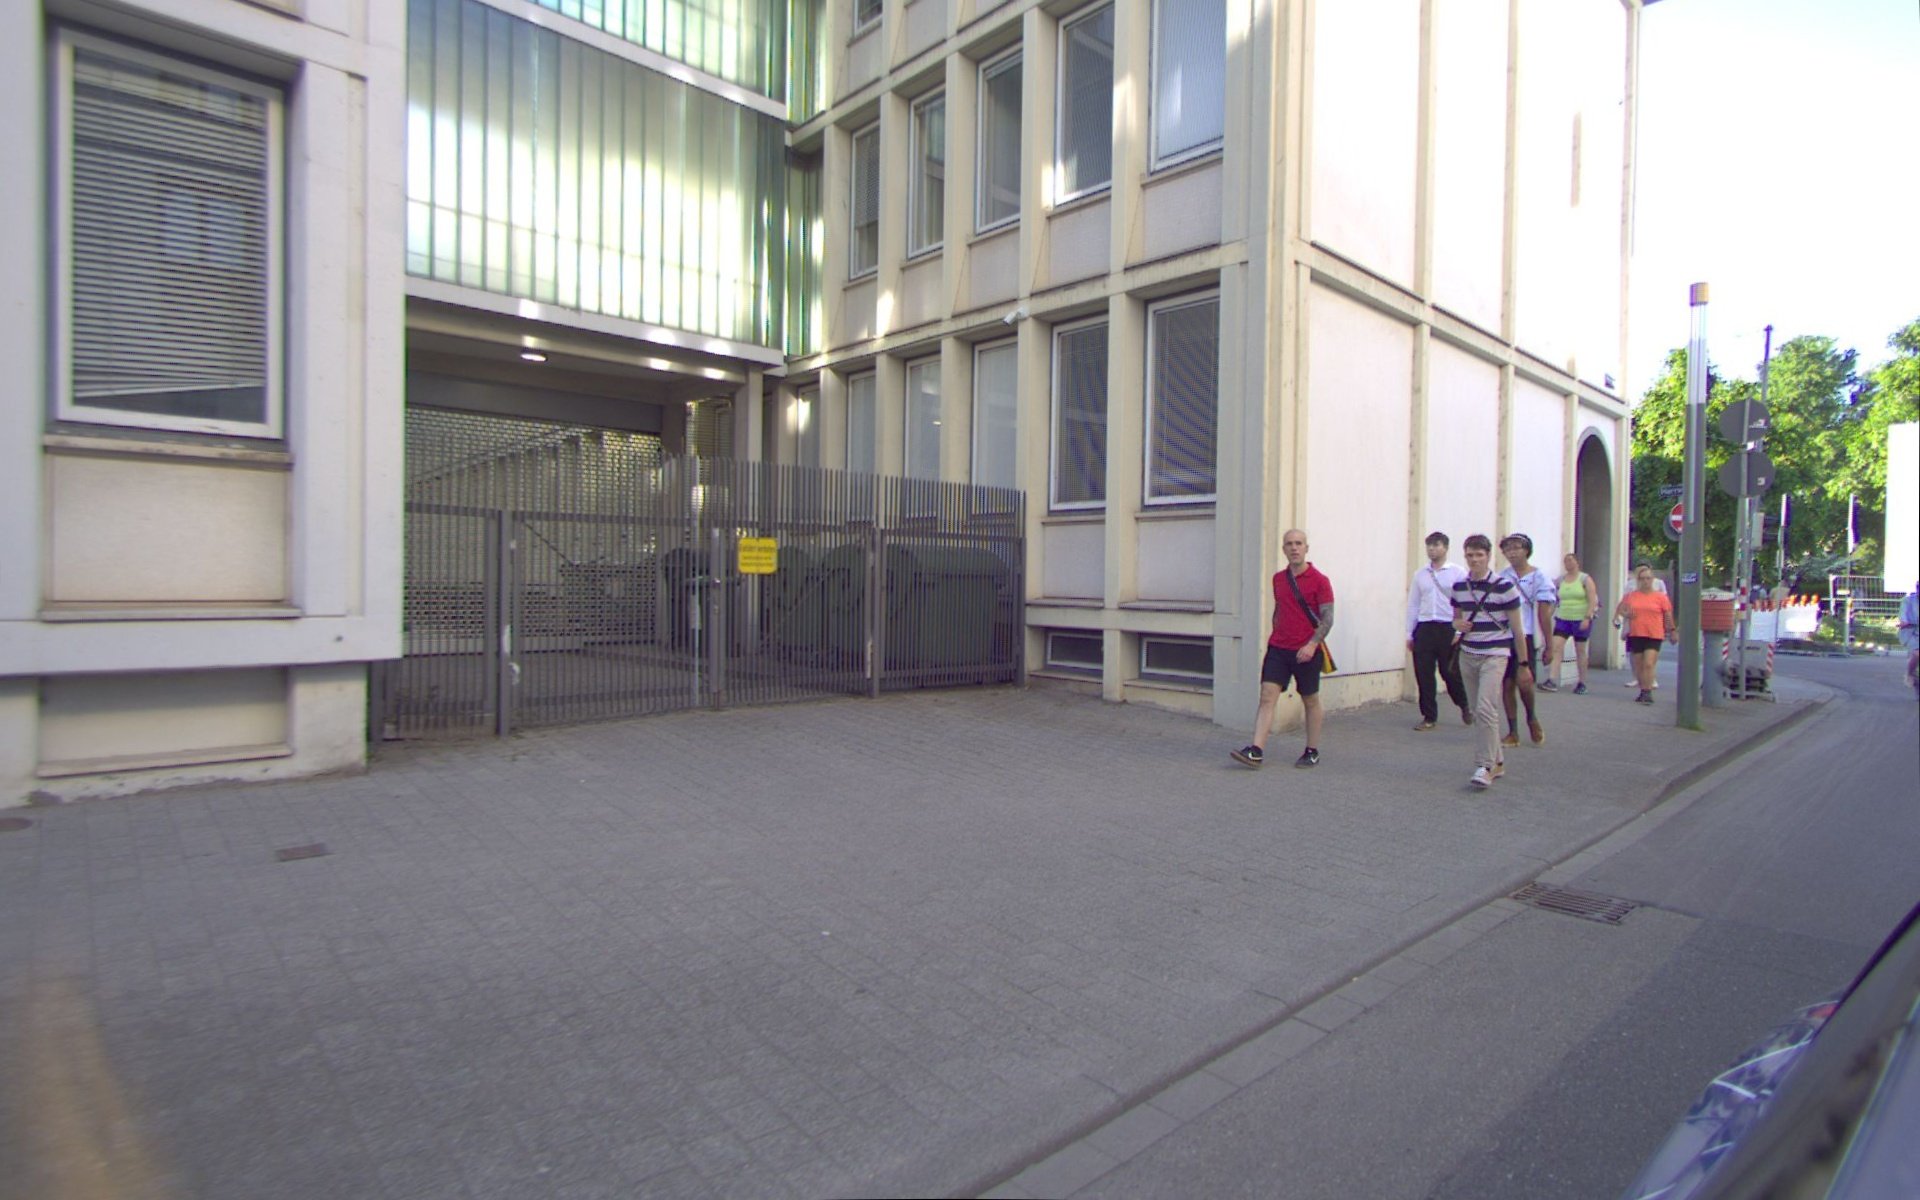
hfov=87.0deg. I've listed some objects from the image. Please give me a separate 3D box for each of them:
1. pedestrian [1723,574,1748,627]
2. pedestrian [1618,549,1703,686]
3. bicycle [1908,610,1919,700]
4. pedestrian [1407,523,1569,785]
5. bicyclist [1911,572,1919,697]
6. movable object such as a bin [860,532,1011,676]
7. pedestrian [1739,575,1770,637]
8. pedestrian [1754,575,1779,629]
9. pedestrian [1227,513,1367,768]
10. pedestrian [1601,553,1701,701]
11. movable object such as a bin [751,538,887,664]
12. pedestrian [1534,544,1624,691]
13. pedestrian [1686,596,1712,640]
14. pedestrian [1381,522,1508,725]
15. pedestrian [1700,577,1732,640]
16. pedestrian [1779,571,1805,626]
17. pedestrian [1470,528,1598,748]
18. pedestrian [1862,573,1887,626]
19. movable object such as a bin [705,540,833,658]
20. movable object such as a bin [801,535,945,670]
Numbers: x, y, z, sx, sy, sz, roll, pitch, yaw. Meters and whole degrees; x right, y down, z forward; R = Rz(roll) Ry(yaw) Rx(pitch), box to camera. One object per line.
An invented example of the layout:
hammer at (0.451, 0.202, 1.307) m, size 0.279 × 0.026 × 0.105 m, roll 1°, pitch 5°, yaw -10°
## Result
pedestrian at (26.749, -0.007, 34.895) m, size 0.624 × 1.805 × 0.614 m, roll 1°, pitch 1°, yaw 42°
pedestrian at (9.332, 0.213, 13.492) m, size 0.681 × 1.736 × 0.684 m, roll 0°, pitch 4°, yaw -41°
bicycle at (13.300, 0.722, 13.713) m, size 0.594 × 1.097 × 2.273 m, roll 1°, pitch 2°, yaw 45°
pedestrian at (3.926, 0.366, 7.537) m, size 0.681 × 1.799 × 0.685 m, roll 0°, pitch 7°, yaw -41°
bicyclist at (13.384, 0.466, 13.801) m, size 0.529 × 1.710 × 0.584 m, roll -1°, pitch 1°, yaw -45°
movable object such as a bin at (-0.259, 0.024, 11.039) m, size 1.359 × 1.454 × 0.968 m, roll -1°, pitch 1°, yaw -42°
pedestrian at (21.341, 0.160, 27.188) m, size 0.624 × 1.634 × 0.614 m, roll 1°, pitch 1°, yaw 42°
pedestrian at (27.384, 0.052, 34.376) m, size 0.624 × 1.805 × 0.614 m, roll 1°, pitch 1°, yaw 42°
pedestrian at (2.532, 0.272, 7.631) m, size 0.583 × 1.799 × 0.685 m, roll 0°, pitch 5°, yaw -41°
pedestrian at (8.228, 0.300, 12.052) m, size 0.681 × 1.655 × 0.685 m, roll 0°, pitch 6°, yaw -41°
movable object such as a bin at (-1.734, -0.009, 12.479) m, size 1.359 × 1.454 × 0.968 m, roll -1°, pitch 1°, yaw -42°
pedestrian at (7.719, 0.196, 12.625) m, size 0.681 × 1.736 × 0.685 m, roll 0°, pitch 4°, yaw -41°
pedestrian at (20.433, 0.481, 27.977) m, size 0.533 × 1.191 × 0.614 m, roll 1°, pitch 1°, yaw 42°
pedestrian at (4.596, 0.195, 9.615) m, size 0.681 × 1.799 × 0.685 m, roll 0°, pitch 7°, yaw -41°
pedestrian at (20.320, 0.221, 27.201) m, size 0.624 × 1.662 × 0.614 m, roll 1°, pitch 1°, yaw 42°
pedestrian at (27.709, -0.063, 33.705) m, size 0.624 × 1.805 × 0.614 m, roll 1°, pitch 1°, yaw 42°
pedestrian at (4.979, 0.294, 8.782) m, size 0.681 × 1.800 × 0.684 m, roll 0°, pitch 3°, yaw -41°
pedestrian at (31.588, -0.034, 34.970) m, size 0.624 × 1.805 × 0.614 m, roll 1°, pitch 1°, yaw 42°
movable object such as a bin at (-2.502, -0.028, 13.281) m, size 1.359 × 1.454 × 0.968 m, roll -1°, pitch 1°, yaw -42°
movable object such as a bin at (-0.999, 0.008, 11.739) m, size 1.359 × 1.454 × 0.968 m, roll -1°, pitch 1°, yaw -42°
